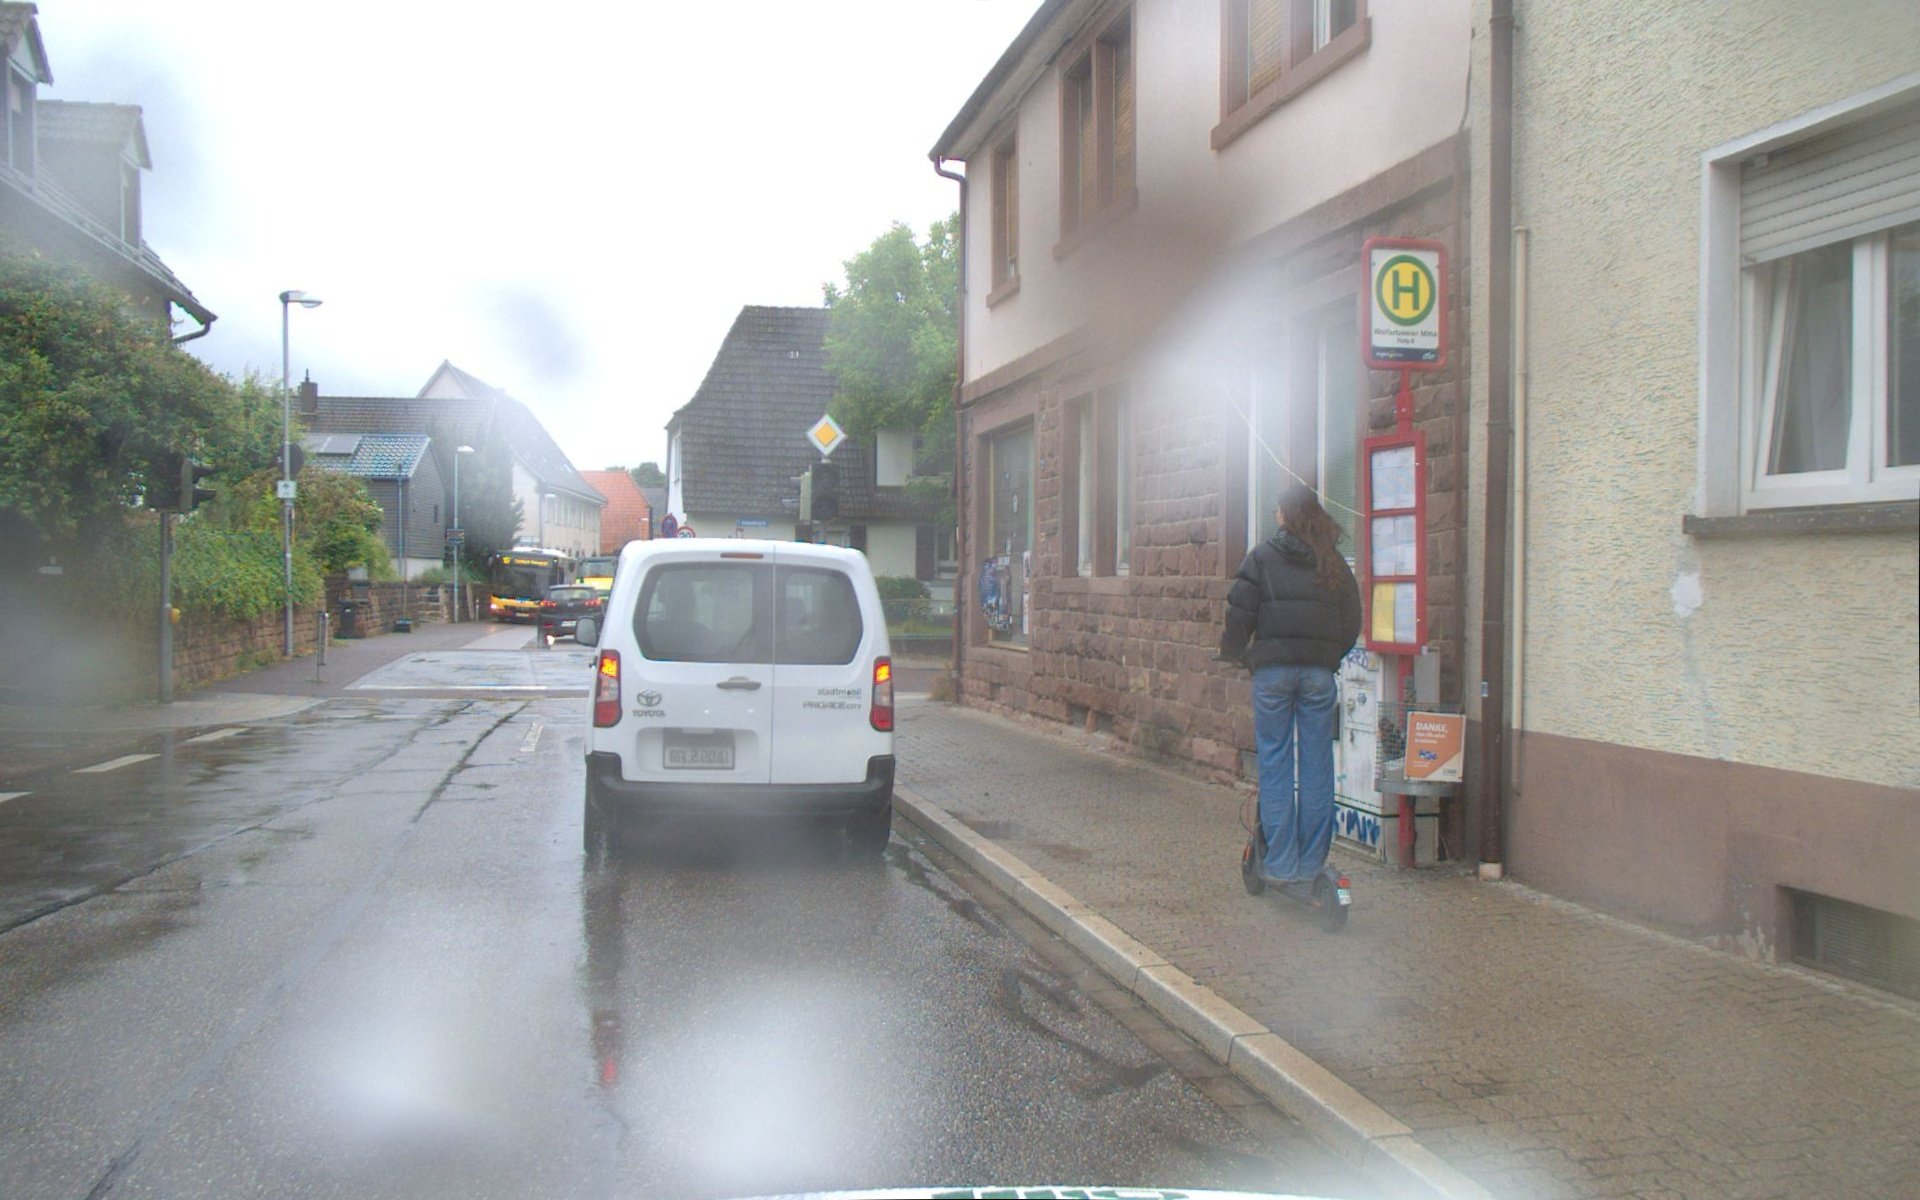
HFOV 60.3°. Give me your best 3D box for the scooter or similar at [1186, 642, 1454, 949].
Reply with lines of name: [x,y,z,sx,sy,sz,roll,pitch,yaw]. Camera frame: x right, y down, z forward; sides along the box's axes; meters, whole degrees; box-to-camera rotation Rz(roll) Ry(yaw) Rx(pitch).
scooter or similar: [1.530,0.789,7.258,0.609,1.146,1.397,1,1,-13]

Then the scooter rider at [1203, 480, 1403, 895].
scooter rider: [1.521,0.375,7.376,0.718,1.763,0.516,1,-1,-13]

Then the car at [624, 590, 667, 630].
car: [-16.126,0.518,84.955,1.860,1.982,3.994,-1,0,-7]

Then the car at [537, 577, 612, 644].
car: [-10.041,0.257,43.213,1.778,1.624,3.744,2,0,-12]

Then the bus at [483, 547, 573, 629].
bus: [-17.975,-0.654,69.446,2.601,3.051,12.165,1,2,-10]

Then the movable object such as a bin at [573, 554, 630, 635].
movable object such as a bin: [-12.464,-0.196,57.708,1.695,2.699,3.965,2,0,-10]

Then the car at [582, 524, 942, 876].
car: [-1.436,0.527,10.655,1.861,1.825,3.801,2,0,-13]
